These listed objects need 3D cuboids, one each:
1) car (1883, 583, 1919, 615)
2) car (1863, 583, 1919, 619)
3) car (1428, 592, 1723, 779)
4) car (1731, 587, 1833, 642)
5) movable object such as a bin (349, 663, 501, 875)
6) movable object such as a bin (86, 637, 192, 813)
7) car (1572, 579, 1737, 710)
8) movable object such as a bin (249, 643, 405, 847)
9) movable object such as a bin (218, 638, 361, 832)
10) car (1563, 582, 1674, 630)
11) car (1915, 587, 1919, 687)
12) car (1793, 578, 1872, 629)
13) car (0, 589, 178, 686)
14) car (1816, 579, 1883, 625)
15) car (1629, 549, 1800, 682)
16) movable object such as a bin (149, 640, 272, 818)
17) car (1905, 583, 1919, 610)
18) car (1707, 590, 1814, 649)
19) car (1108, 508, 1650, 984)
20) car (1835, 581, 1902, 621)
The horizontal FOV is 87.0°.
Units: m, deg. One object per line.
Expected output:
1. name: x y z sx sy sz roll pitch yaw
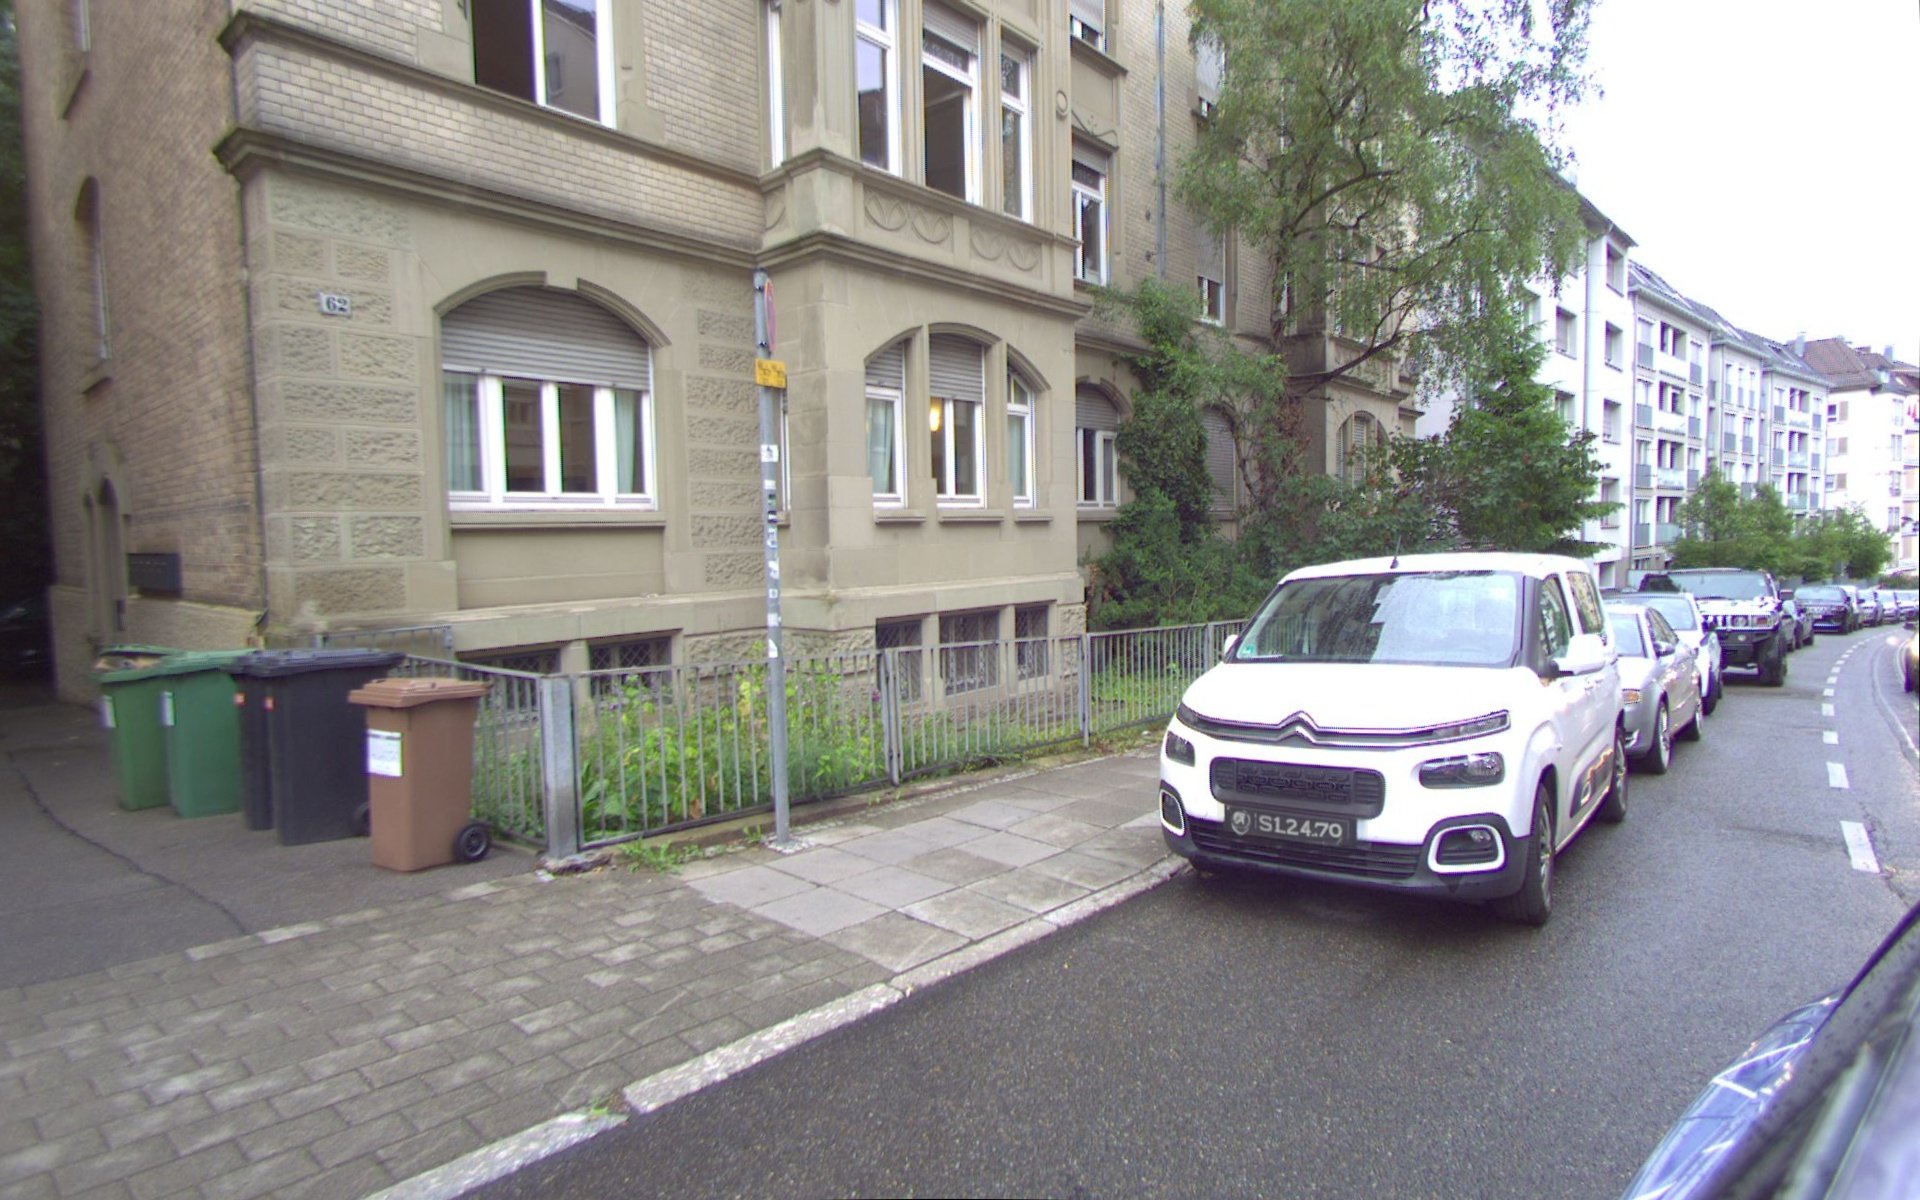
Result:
1. car: 49.799 -0.077 53.086 1.975 1.604 4.495 2 2 43
2. car: 45.667 0.000 49.529 4.587 1.648 1.834 -1 2 -44
3. car: 6.269 0.652 10.048 1.747 1.418 4.411 -1 0 41
4. car: 23.660 0.353 29.076 4.535 1.455 1.795 -1 1 -45
5. movable object such as a bin: -2.679 0.814 5.073 0.425 0.931 0.529 3 2 38
6. movable object such as a bin: -5.608 0.826 6.915 0.518 1.116 0.471 -3 -1 42
7. car: 9.672 0.520 13.991 1.557 1.565 3.533 -1 0 40
8. movable object such as a bin: -3.602 0.782 5.760 0.653 1.043 0.528 -1 -1 -43
9. movable object such as a bin: -4.080 0.787 6.163 0.498 1.075 0.600 -3 -1 41
10. car: 20.957 0.173 32.156 4.079 1.444 1.816 0 0 -39
11. car: 16.006 0.549 15.537 3.933 1.472 1.737 0 2 -44
12. car: 33.056 0.078 38.316 1.943 1.817 4.743 1 2 45
13. car: -17.200 0.670 18.804 3.933 1.529 1.796 7 -1 -45
14. car: 37.159 0.037 42.245 4.398 1.817 1.780 -1 2 -44
15. car: 13.745 0.217 18.293 2.126 2.039 5.272 -1 0 40
16. movable object such as a bin: -4.930 0.819 6.658 0.495 1.075 0.547 -3 -1 41
17. car: 57.059 -0.193 59.315 4.704 1.534 1.862 -1 2 -40
18. car: 20.404 0.437 25.737 3.819 1.355 1.679 -1 1 -44
19. car: 2.818 0.529 6.089 1.795 1.787 4.399 -1 0 40
20. car: 41.401 0.014 46.104 4.608 1.676 1.834 -1 2 -43
